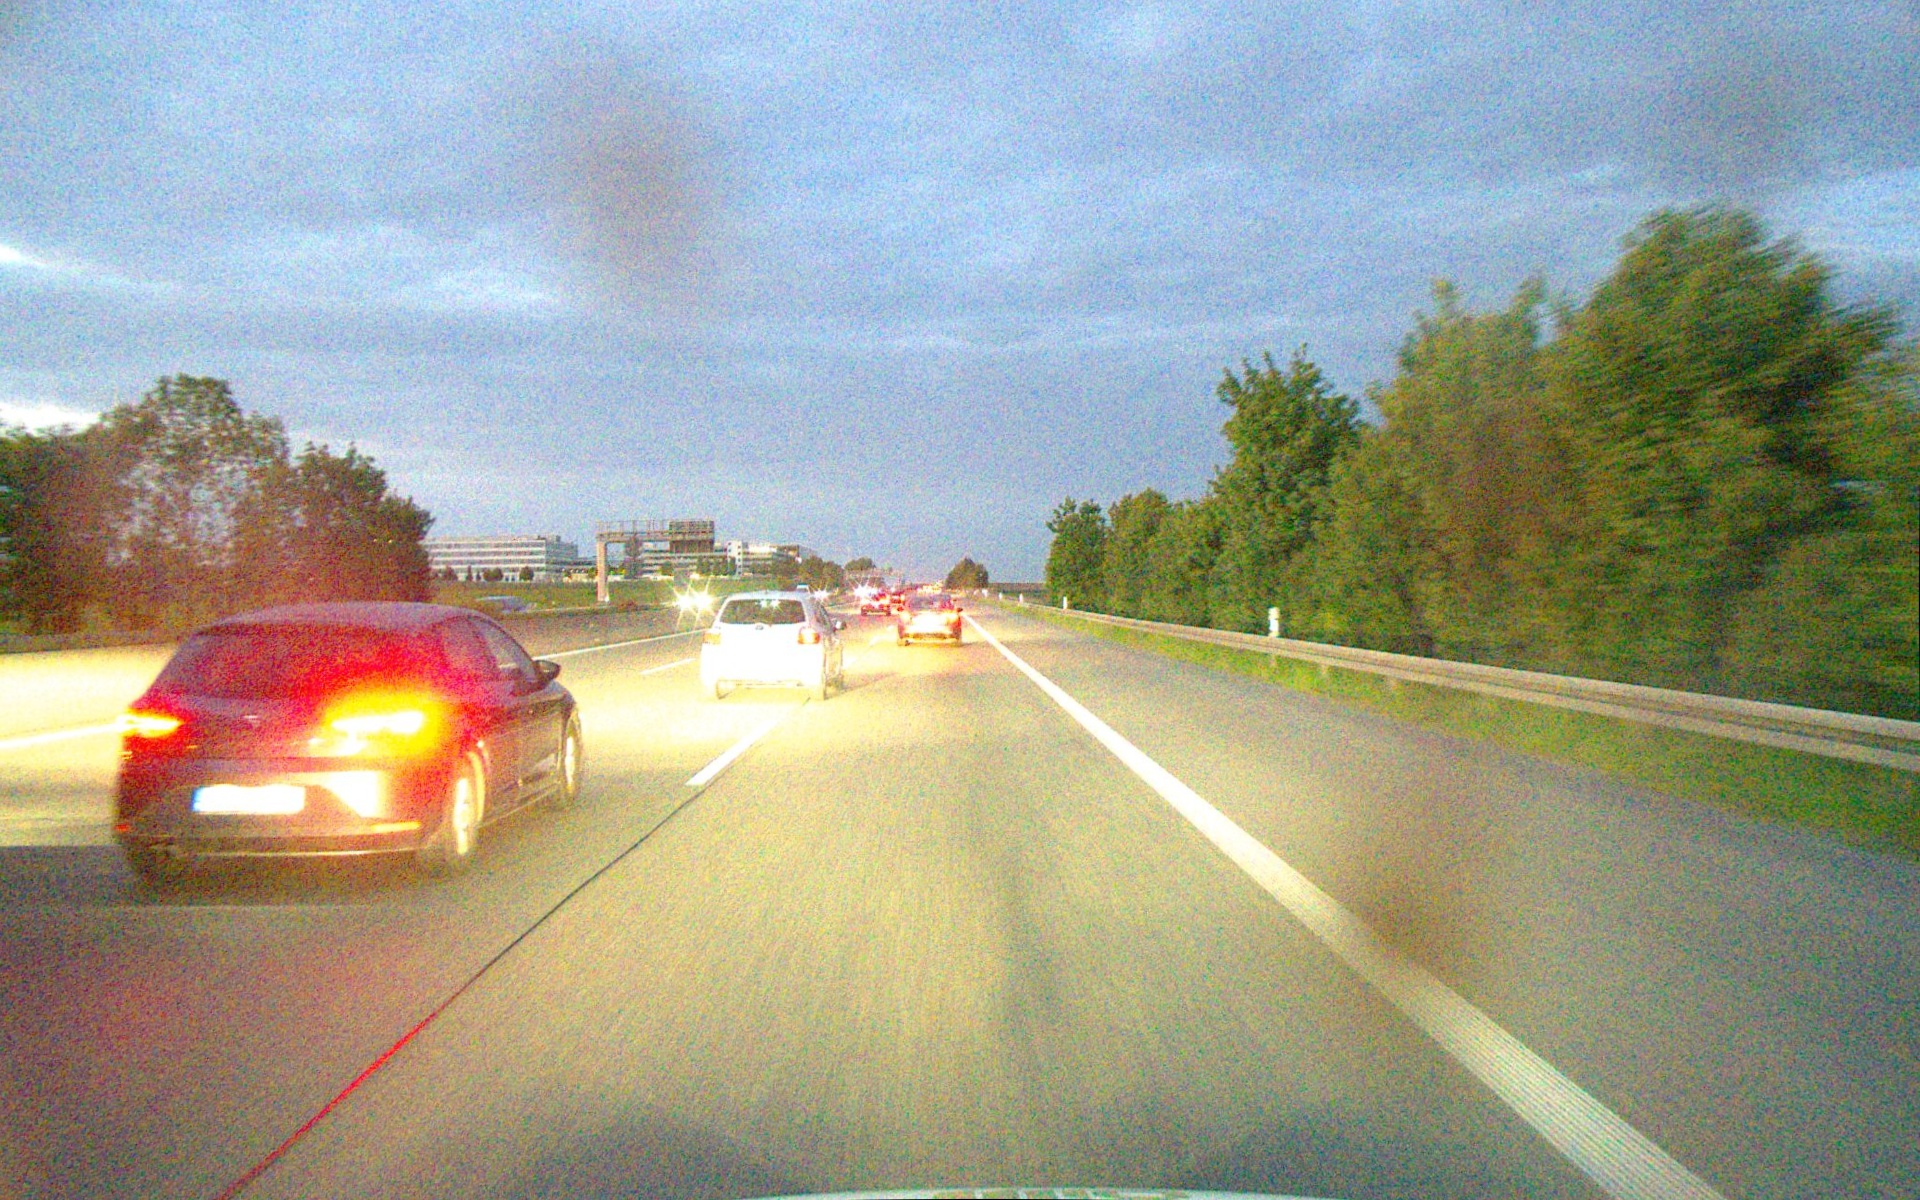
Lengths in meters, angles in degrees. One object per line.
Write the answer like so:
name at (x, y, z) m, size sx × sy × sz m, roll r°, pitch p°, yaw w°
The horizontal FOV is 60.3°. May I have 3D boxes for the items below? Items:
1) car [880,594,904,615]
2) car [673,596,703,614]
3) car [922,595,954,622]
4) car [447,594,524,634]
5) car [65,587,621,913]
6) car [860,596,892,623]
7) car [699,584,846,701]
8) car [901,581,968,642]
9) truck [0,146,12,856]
car at (-6.508, 0.452, 158.813) m, size 2.154 × 1.912 × 3.999 m, roll 1°, pitch 0°, yaw -1°
car at (-21.137, 0.402, 128.635) m, size 1.709 × 1.386 × 4.110 m, roll 1°, pitch 0°, yaw -1°
car at (-1.376, 0.516, 100.932) m, size 1.842 × 1.579 × 3.998 m, roll 1°, pitch 0°, yaw -2°
car at (-16.342, 0.471, 57.108) m, size 1.621 × 1.311 × 3.644 m, roll 1°, pitch 0°, yaw -1°
car at (-3.345, 0.709, 10.047) m, size 1.688 × 1.497 × 4.724 m, roll 1°, pitch 0°, yaw -1°
car at (-5.092, 0.574, 101.028) m, size 1.842 × 1.579 × 3.998 m, roll 1°, pitch 0°, yaw -2°
car at (-2.683, 0.589, 24.550) m, size 1.709 × 1.551 × 4.413 m, roll 1°, pitch 0°, yaw -1°
car at (-0.756, 0.326, 48.140) m, size 1.842 × 1.672 × 3.999 m, roll 1°, pitch 0°, yaw -1°
truck at (-6.959, -0.589, 6.742) m, size 2.721 × 4.164 × 6.102 m, roll 0°, pitch 0°, yaw -1°
